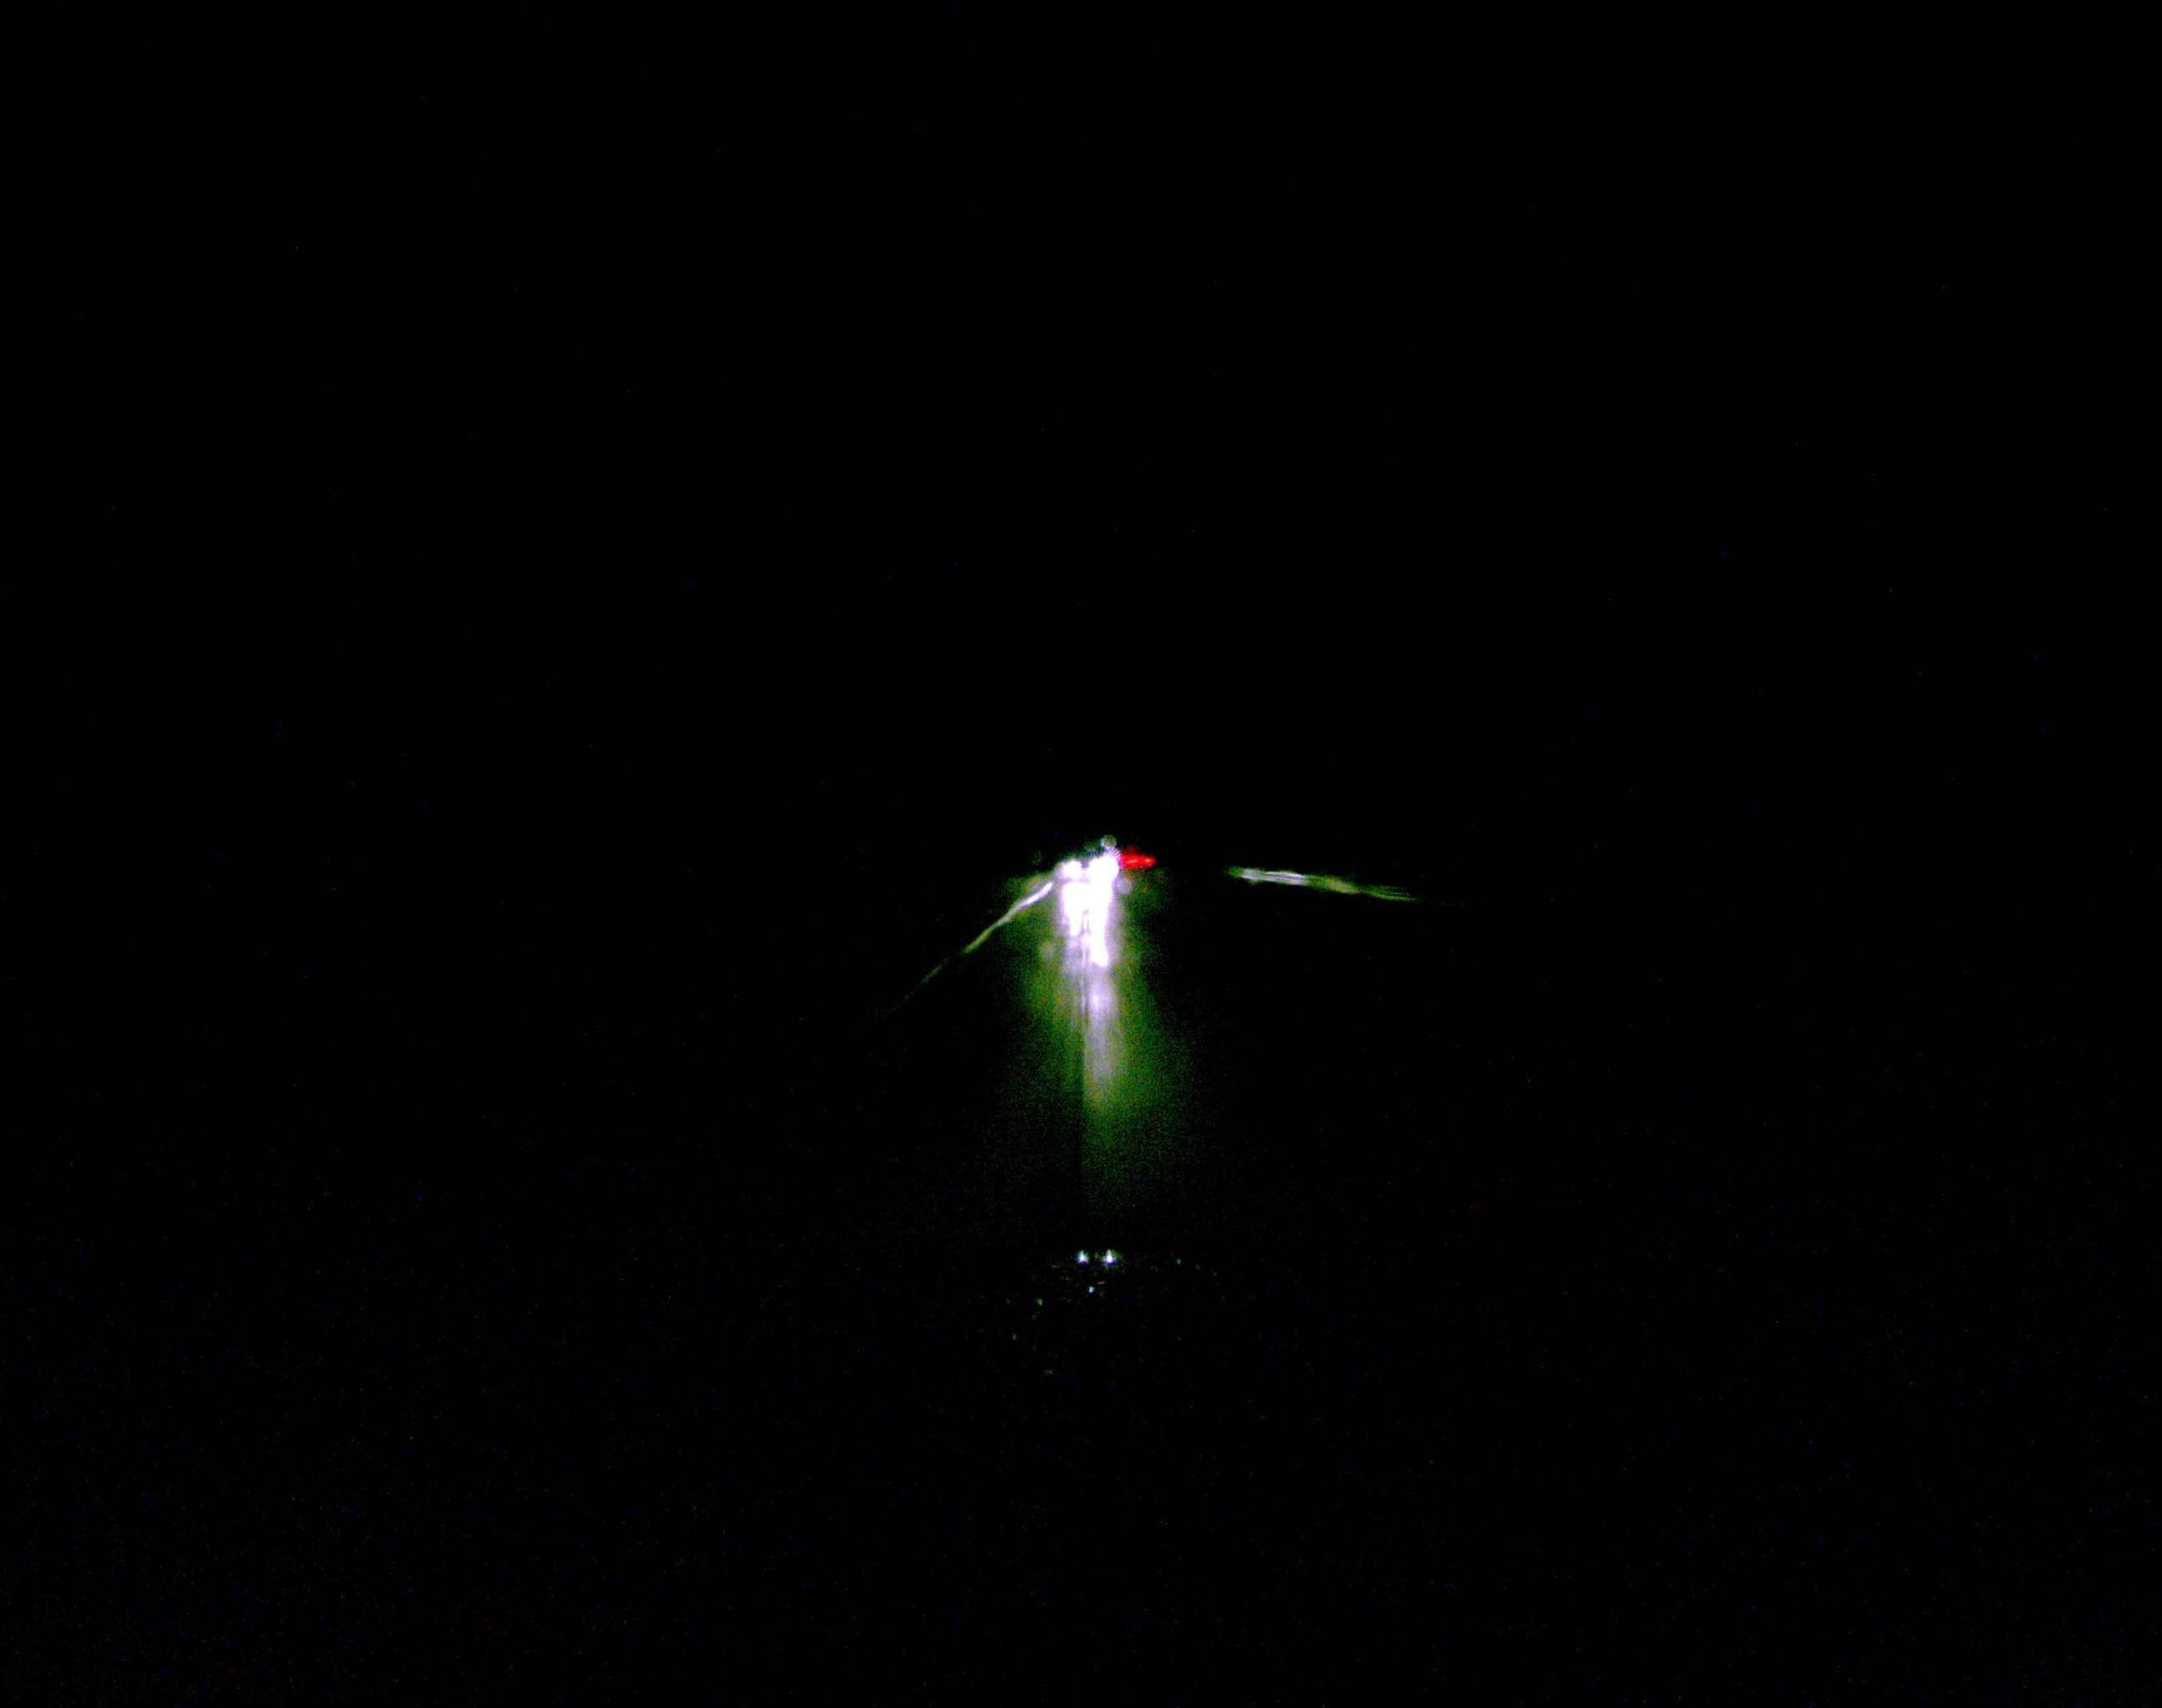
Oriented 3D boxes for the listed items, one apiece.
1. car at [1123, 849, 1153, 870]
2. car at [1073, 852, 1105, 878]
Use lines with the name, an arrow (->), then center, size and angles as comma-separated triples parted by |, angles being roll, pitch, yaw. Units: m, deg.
car -> 4.565, 0.425, 61.740 | 1.805, 1.570, 4.456 | -2, 0, -3
car -> 0.531, 0.705, 47.525 | 1.901, 1.551, 4.001 | 0, -2, 1
